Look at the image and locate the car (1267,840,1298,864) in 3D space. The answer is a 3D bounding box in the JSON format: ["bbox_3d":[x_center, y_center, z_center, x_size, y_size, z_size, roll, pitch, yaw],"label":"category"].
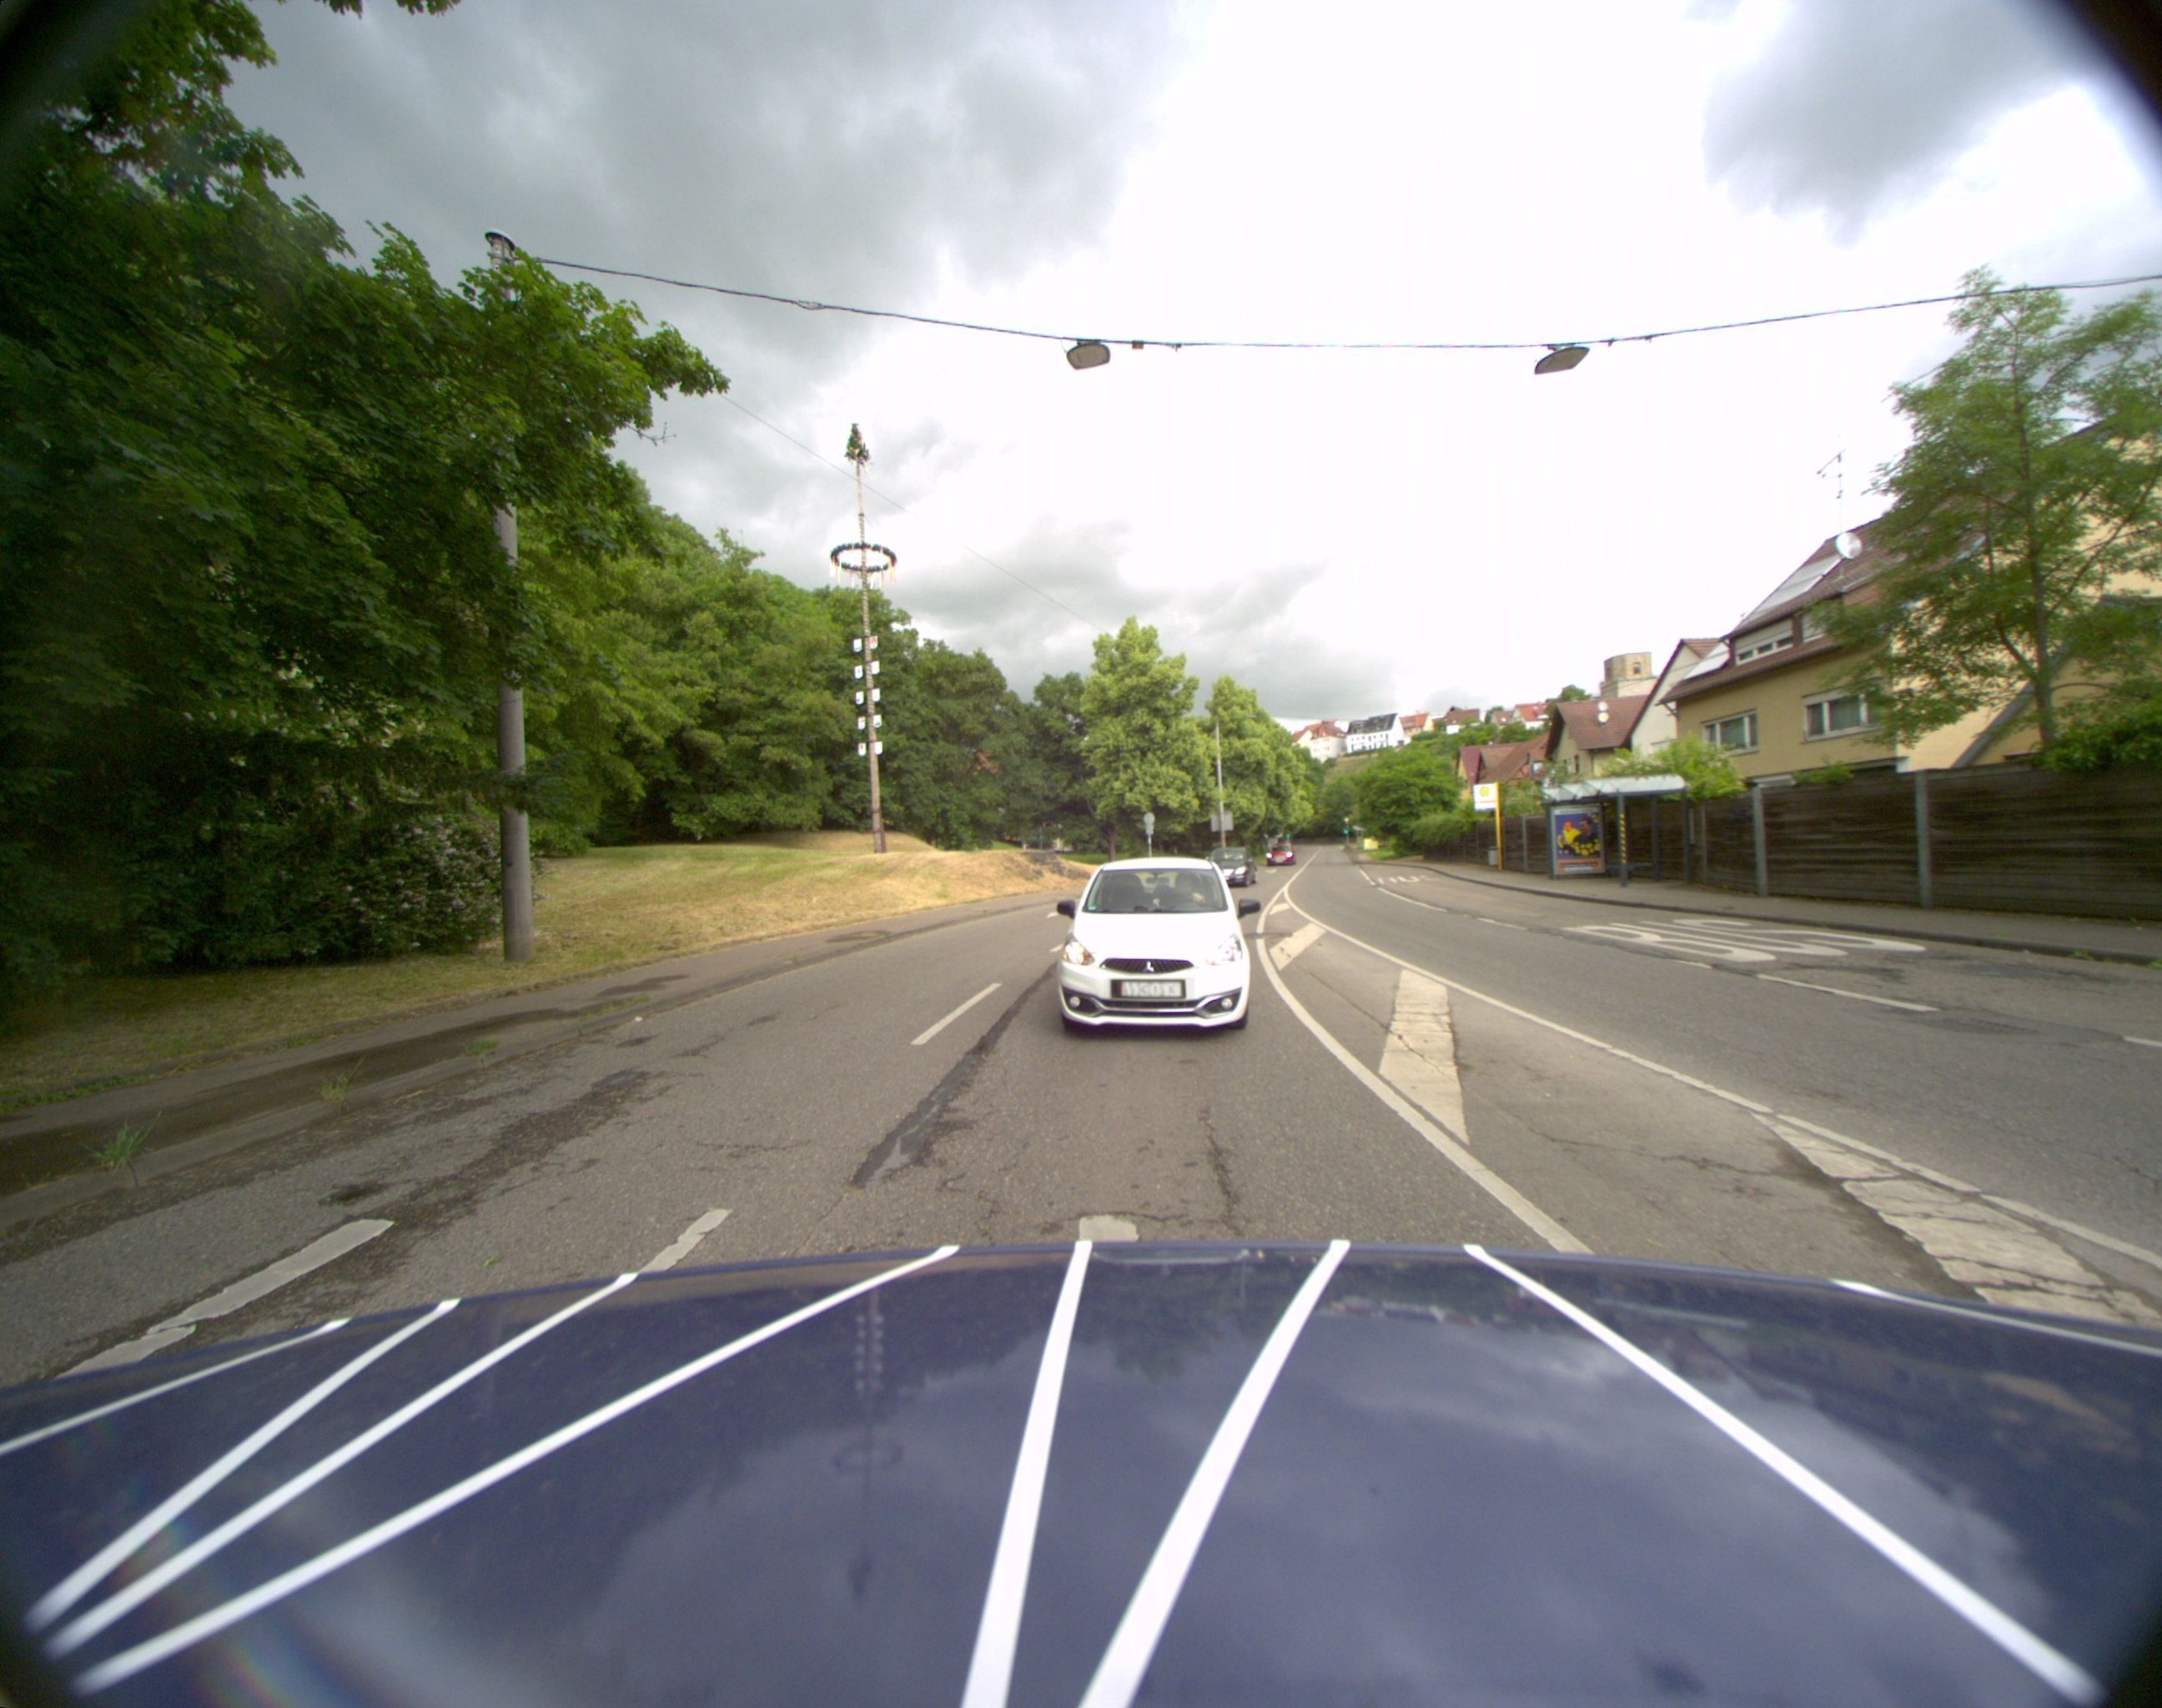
[{"bbox_3d":[15.001,-0.169,56.459,1.825,1.662,4.063,-2,1,20],"label":"car"}]

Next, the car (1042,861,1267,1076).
[{"bbox_3d":[0.812,0.892,7.479,1.617,1.505,3.607,-2,1,9],"label":"car"}]

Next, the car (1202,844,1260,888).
[{"bbox_3d":[6.064,0.441,30.495,1.722,1.539,3.786,-2,1,19],"label":"car"}]
